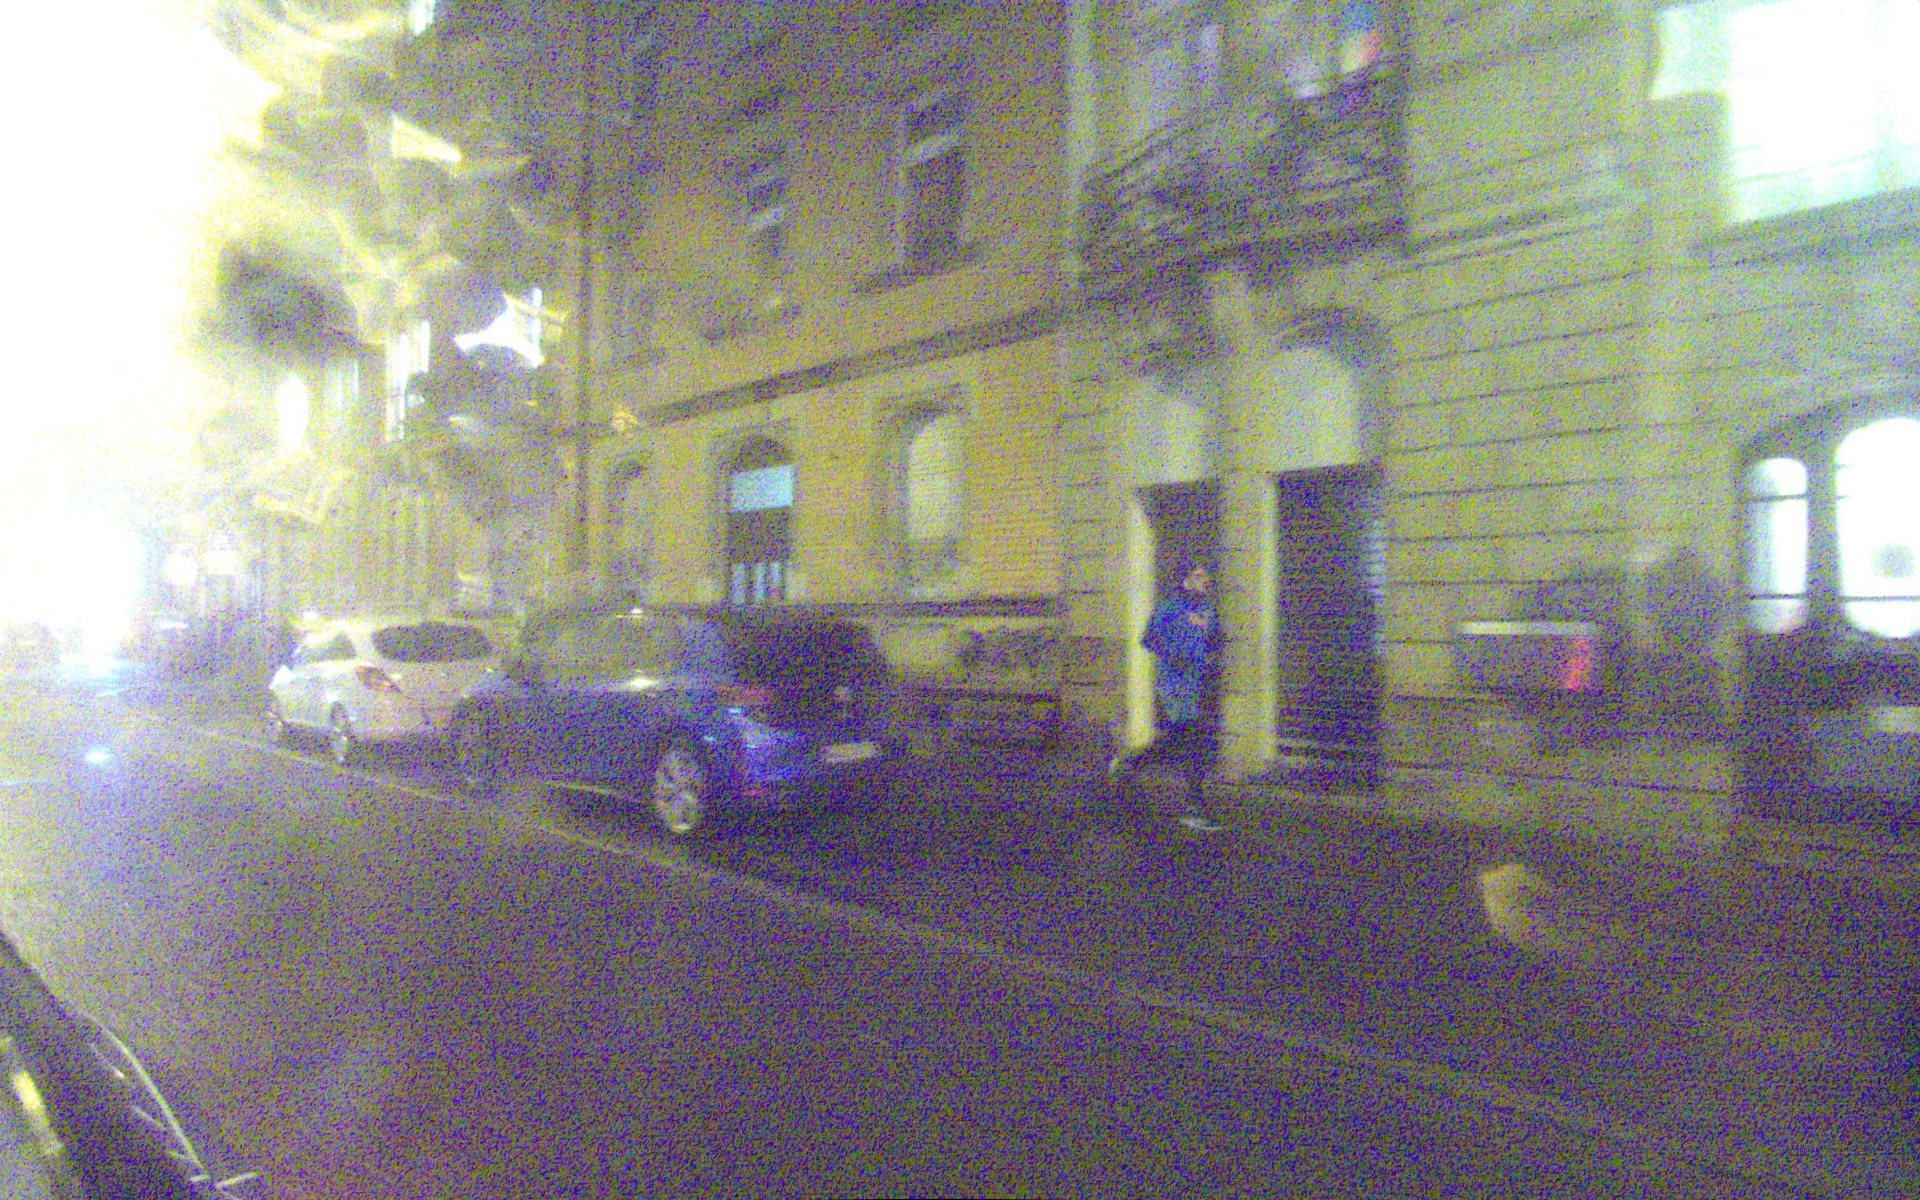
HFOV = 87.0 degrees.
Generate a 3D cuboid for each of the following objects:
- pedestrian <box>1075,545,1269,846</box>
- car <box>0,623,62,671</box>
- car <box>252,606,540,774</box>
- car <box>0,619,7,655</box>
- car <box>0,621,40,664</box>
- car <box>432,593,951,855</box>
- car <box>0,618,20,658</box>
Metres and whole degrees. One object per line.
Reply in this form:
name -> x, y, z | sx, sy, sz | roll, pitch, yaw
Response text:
pedestrian -> 1.419, 0.594, 6.839 | 1.078, 1.846, 0.667 | -2, -1, 43
car -> -30.989, 1.520, 33.211 | 3.733, 1.489, 1.828 | -1, -1, 41
car -> -6.213, 0.844, 10.968 | 3.786, 1.489, 1.697 | -1, -1, 44
car -> -44.101, 1.680, 45.240 | 3.733, 1.592, 1.828 | -1, -1, 41
car -> -35.189, 1.534, 37.064 | 3.733, 1.489, 1.828 | -1, -1, 41
car -> -2.208, 0.754, 7.735 | 4.154, 1.490, 1.699 | -1, -2, 38
car -> -39.596, 1.542, 41.035 | 3.733, 1.592, 1.828 | -1, -1, 41
